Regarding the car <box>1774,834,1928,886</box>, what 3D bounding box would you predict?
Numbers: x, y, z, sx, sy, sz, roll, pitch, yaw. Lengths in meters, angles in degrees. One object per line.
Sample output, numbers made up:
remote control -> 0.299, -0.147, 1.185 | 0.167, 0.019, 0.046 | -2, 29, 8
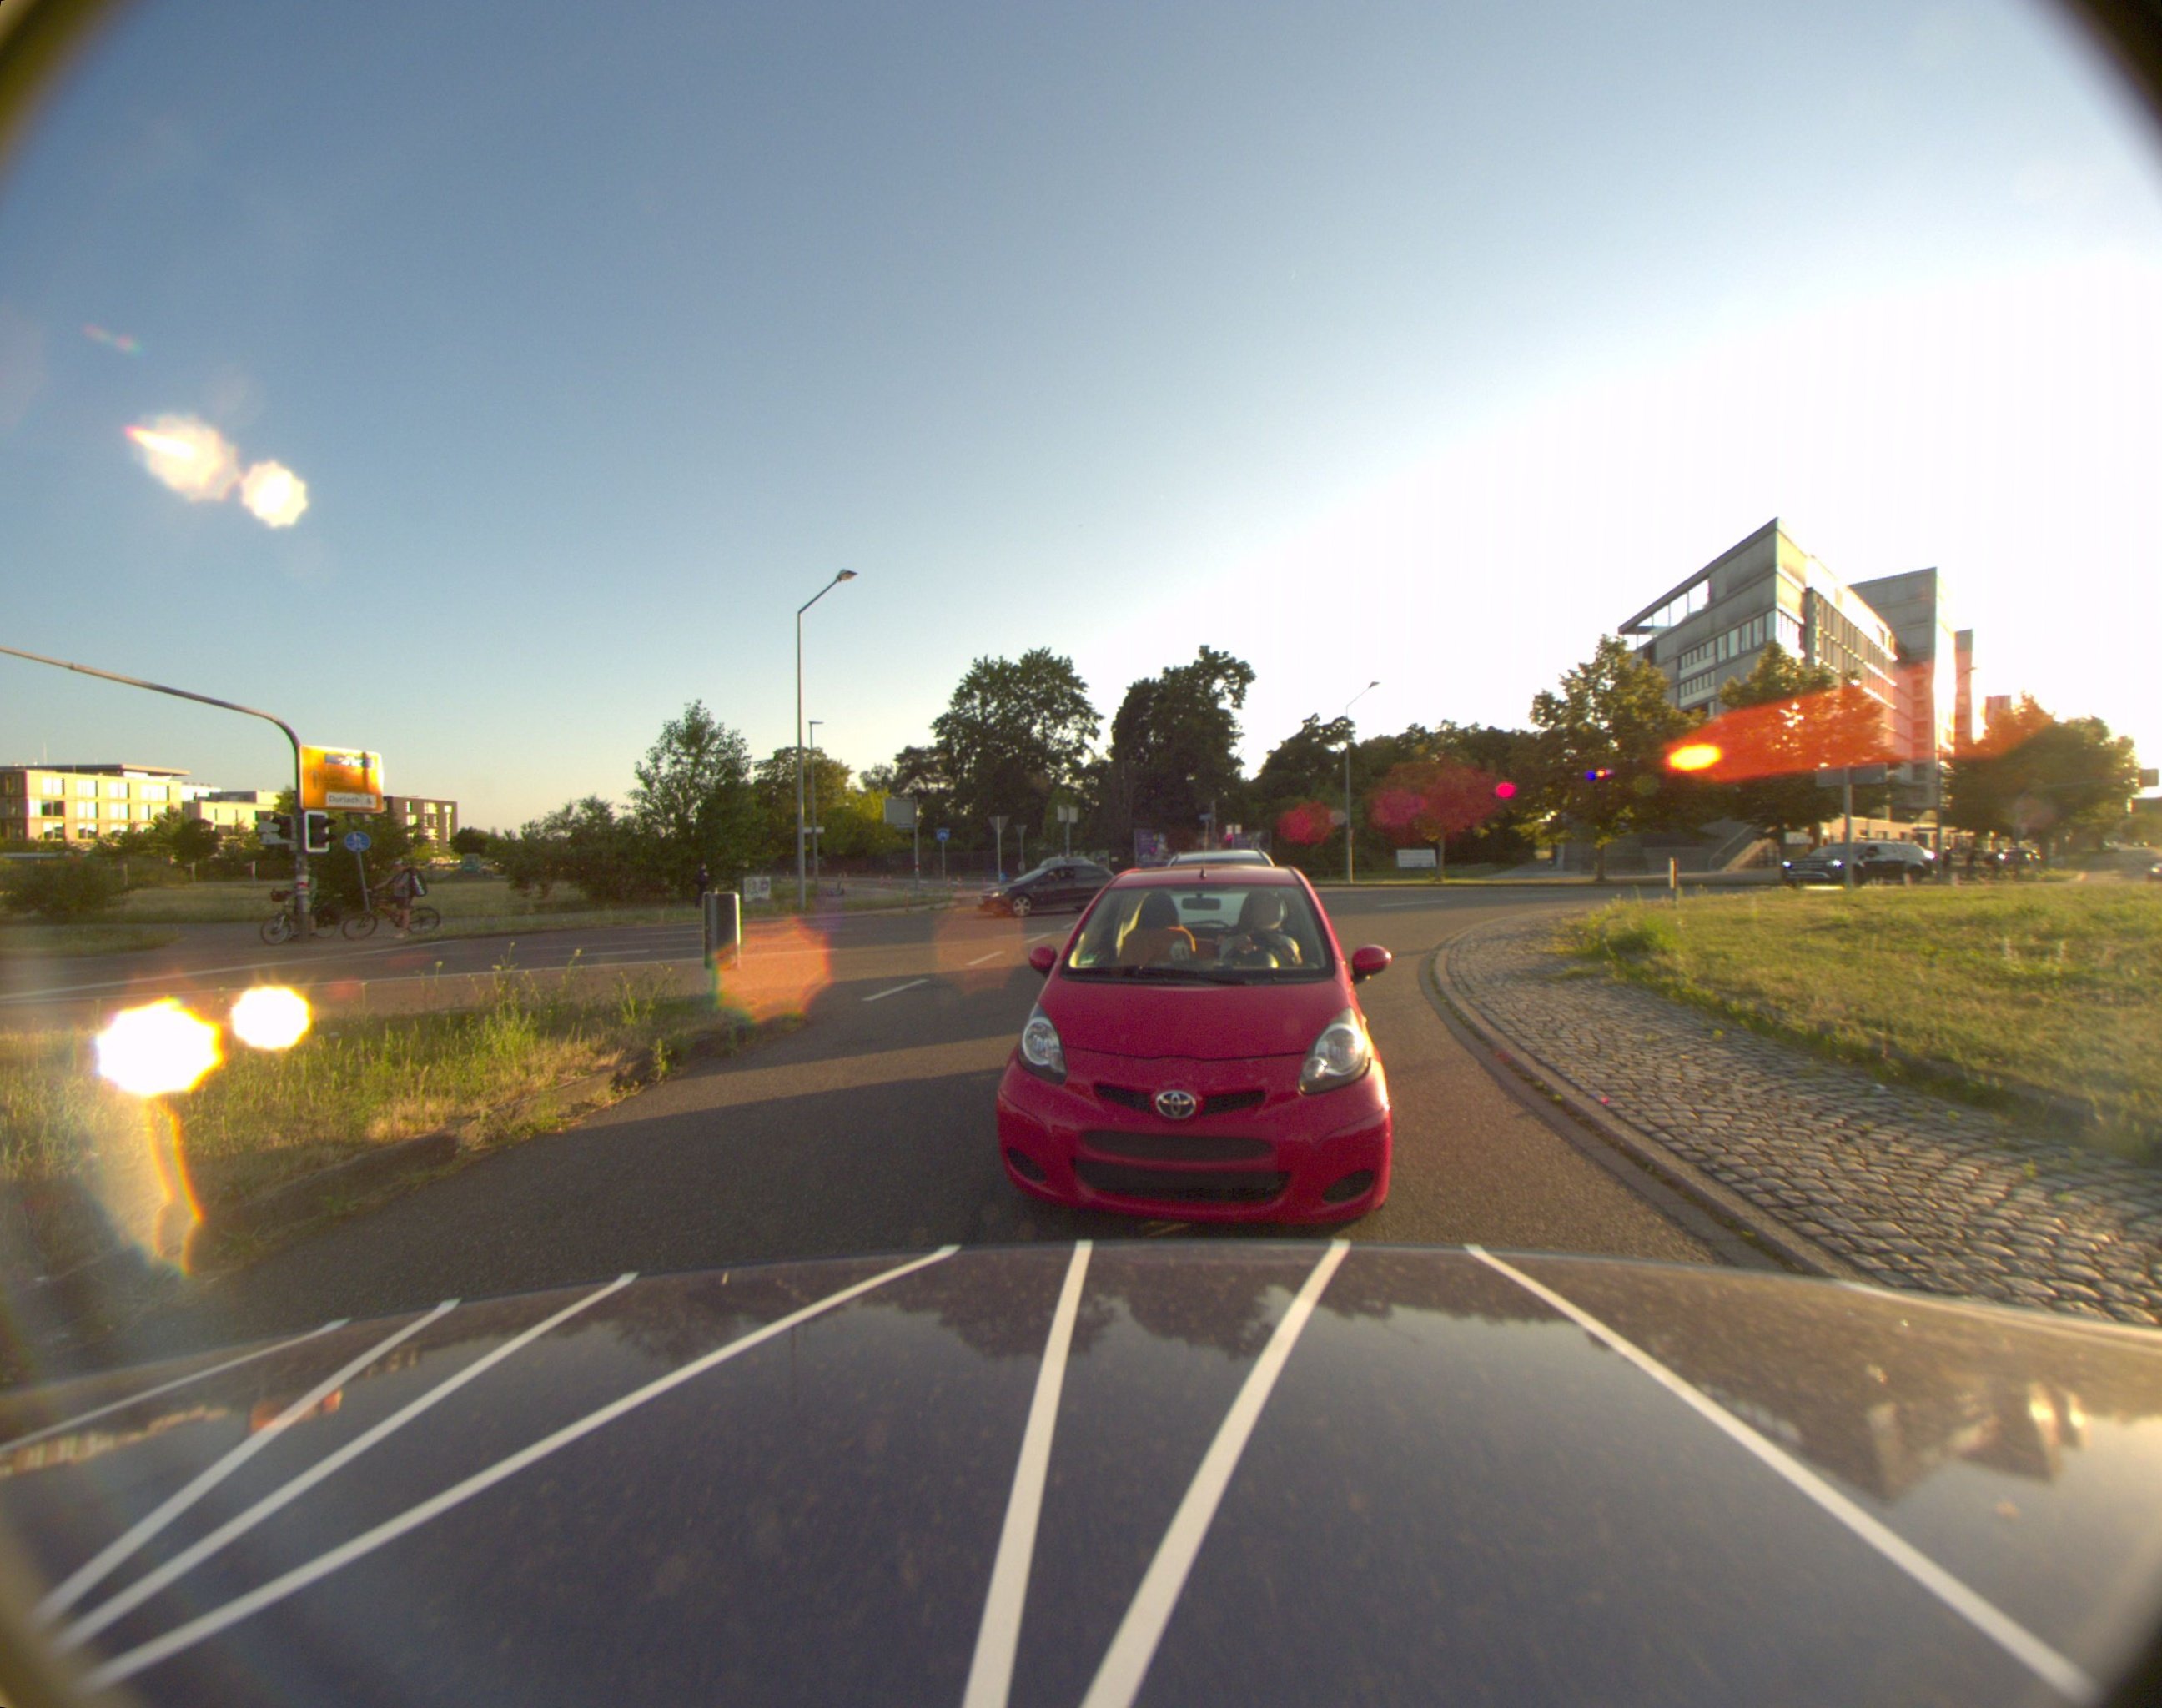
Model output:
car -> 28.684, 0.219, 28.296 | 5.311, 1.802, 1.997 | 0, -1, -20

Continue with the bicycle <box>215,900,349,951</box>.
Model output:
bicycle -> -19.270, 1.696, 18.398 | 0.708, 0.958, 2.109 | -1, 2, 14

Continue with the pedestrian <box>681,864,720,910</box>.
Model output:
pedestrian -> -13.677, 1.156, 27.317 | 0.994, 1.581, 0.924 | -2, 1, -44

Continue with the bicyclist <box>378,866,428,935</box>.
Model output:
bicyclist -> -17.144, 1.164, 19.219 | 0.723, 1.680, 0.690 | -1, 1, 28

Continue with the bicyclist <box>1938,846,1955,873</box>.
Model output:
bicyclist -> 46.978, 0.306, 41.260 | 0.693, 1.432, 0.610 | -2, 1, -42

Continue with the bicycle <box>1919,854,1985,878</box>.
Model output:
bicycle -> 47.090, 0.626, 41.118 | 0.744, 1.237, 2.341 | -2, 1, -41

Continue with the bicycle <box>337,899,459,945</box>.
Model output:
bicycle -> -17.159, 1.678, 19.158 | 0.708, 0.957, 2.149 | -1, 0, 26

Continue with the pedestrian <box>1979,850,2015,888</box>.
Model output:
pedestrian -> 49.372, 0.796, 40.960 | 0.776, 2.002, 0.998 | -2, 1, -11

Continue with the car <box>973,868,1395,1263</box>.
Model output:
car -> 0.840, 0.861, 5.036 | 1.686, 1.412, 4.004 | -1, 0, 14

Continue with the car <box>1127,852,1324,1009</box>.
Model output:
car -> 1.840, 0.796, 9.995 | 1.997, 1.597, 4.201 | -1, 0, 10

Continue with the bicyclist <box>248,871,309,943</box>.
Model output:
bicyclist -> -19.329, 1.256, 18.311 | 0.724, 1.680, 0.690 | -1, 1, 12

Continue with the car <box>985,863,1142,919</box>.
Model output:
car -> -0.496, 0.998, 21.819 | 4.130, 1.371, 1.748 | -1, 0, -24

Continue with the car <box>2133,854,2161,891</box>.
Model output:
car -> 48.841, 0.779, 32.767 | 4.565, 1.550, 1.833 | -1, 1, -2

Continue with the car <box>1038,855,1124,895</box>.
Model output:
car -> -0.080, 0.876, 33.663 | 2.003, 1.588, 4.304 | -1, 0, -28
